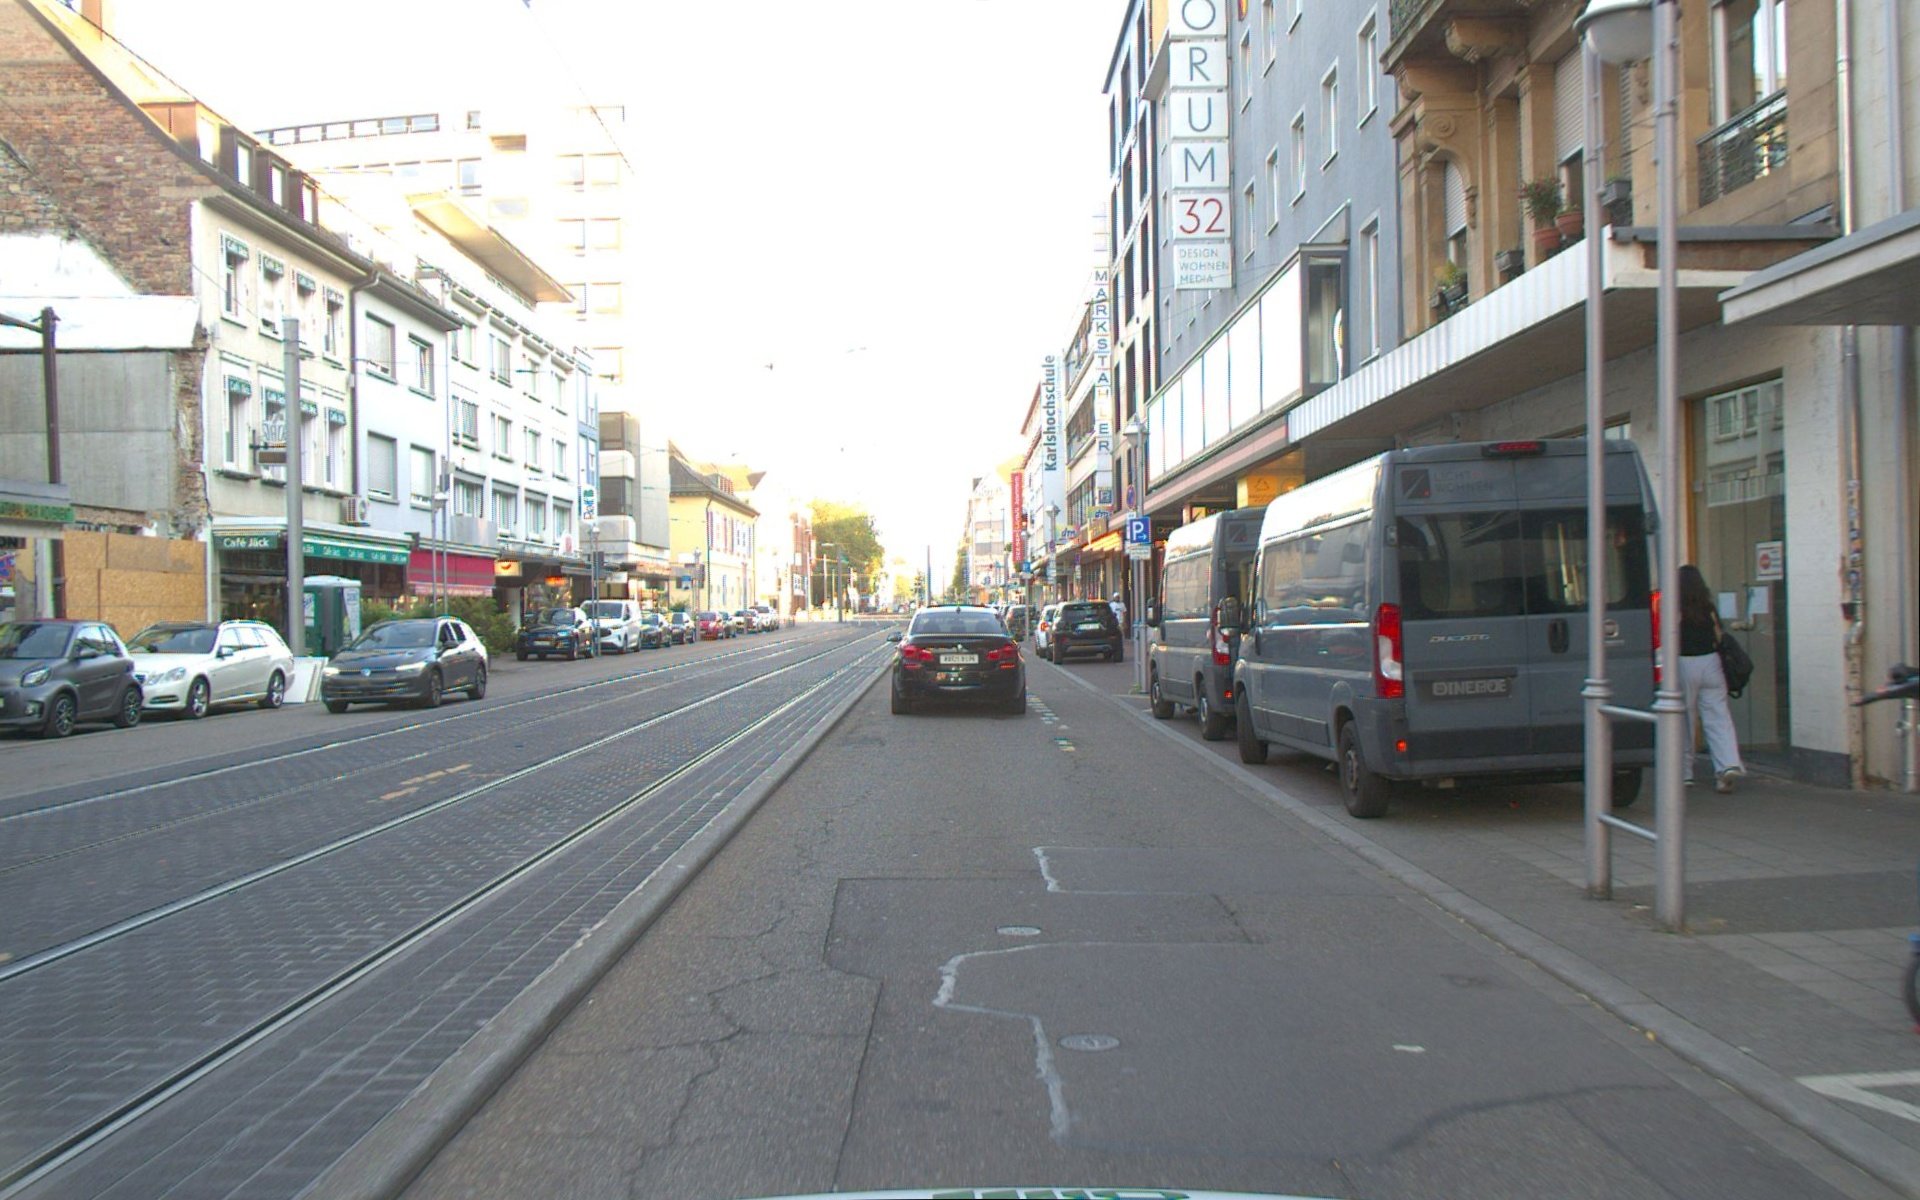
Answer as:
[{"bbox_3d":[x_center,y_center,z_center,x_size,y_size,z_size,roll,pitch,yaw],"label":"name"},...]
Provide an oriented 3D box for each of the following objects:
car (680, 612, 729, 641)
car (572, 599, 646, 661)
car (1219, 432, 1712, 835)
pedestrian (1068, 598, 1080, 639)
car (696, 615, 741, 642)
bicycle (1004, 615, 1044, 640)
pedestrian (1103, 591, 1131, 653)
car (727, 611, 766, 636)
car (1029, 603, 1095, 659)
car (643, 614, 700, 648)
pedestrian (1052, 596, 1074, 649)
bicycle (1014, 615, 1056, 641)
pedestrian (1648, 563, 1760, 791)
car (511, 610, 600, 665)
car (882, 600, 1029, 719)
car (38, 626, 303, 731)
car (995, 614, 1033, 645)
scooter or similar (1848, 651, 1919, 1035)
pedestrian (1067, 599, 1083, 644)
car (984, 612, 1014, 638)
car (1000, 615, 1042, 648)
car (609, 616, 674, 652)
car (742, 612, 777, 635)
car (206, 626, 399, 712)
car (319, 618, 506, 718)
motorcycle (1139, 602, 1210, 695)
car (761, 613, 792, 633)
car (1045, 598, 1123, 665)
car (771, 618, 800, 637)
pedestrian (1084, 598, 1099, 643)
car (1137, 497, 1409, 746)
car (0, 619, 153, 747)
[{"bbox_3d":[-13.238,1.359,85.908,1.889,1.460,4.245,0,0,0],"label":"car"},{"bbox_3d":[-13.082,1.088,61.848,1.954,2.194,4.907,-1,0,-4],"label":"car"},{"bbox_3d":[3.715,0.224,13.618,2.050,2.498,6.031,-2,0,-1],"label":"car"},{"bbox_3d":[4.864,0.769,70.423,0.465,1.729,0.752,-2,-1,3],"label":"pedestrian"},{"bbox_3d":[-13.236,1.550,90.892,1.889,1.460,4.245,0,0,0],"label":"car"},{"bbox_3d":[2.973,1.279,77.254,1.823,1.139,0.468,-1,-2,0],"label":"bicycle"},{"bbox_3d":[4.644,0.654,48.881,0.674,1.771,0.821,-3,-1,1],"label":"pedestrian"},{"bbox_3d":[-13.446,1.483,104.422,1.889,1.460,4.245,-1,0,0],"label":"car"},{"bbox_3d":[2.902,0.862,47.607,1.528,1.467,3.708,-3,0,-1],"label":"car"},{"bbox_3d":[-13.224,1.405,76.053,1.889,1.460,4.245,0,0,0],"label":"car"},{"bbox_3d":[3.299,0.726,53.145,0.546,1.676,0.759,-2,-1,-5],"label":"pedestrian"},{"bbox_3d":[3.236,1.213,71.463,1.823,1.099,0.468,-1,-2,0],"label":"bicycle"},{"bbox_3d":[5.640,0.570,12.555,0.539,1.673,0.533,-2,0,0],"label":"pedestrian"},{"bbox_3d":[-13.124,1.198,53.872,1.822,1.707,4.464,0,0,0],"label":"car"},{"bbox_3d":[-0.018,0.806,23.920,1.913,1.525,4.465,-1,-1,1],"label":"car"},{"bbox_3d":[-12.689,1.202,26.982,1.952,1.478,4.822,-1,0,1],"label":"car"},{"bbox_3d":[2.827,1.591,87.447,1.864,1.576,3.779,-1,-1,-1],"label":"car"},{"bbox_3d":[3.617,0.827,6.011,0.490,1.241,1.260,-2,-1,36],"label":"scooter or similar"},{"bbox_3d":[4.746,0.868,68.114,0.542,1.823,0.760,-2,-1,-1],"label":"pedestrian"},{"bbox_3d":[2.394,1.555,102.214,1.738,1.576,3.502,-1,-1,-1],"label":"car"},{"bbox_3d":[2.936,1.525,80.604,1.864,1.576,3.999,-1,-1,-1],"label":"car"},{"bbox_3d":[-13.302,1.398,69.256,1.889,1.460,4.245,0,0,0],"label":"car"},{"bbox_3d":[-13.415,1.571,110.794,1.889,1.460,4.245,0,0,0],"label":"car"},{"bbox_3d":[-12.679,1.284,32.213,1.952,1.478,4.330,-1,0,1],"label":"car"},{"bbox_3d":[-9.235,1.101,28.302,1.657,1.478,4.465,-2,0,0],"label":"car"},{"bbox_3d":[3.593,0.796,27.916,0.827,1.443,2.164,-3,-1,0],"label":"motorcycle"},{"bbox_3d":[-13.836,1.690,124.644,1.889,1.460,4.245,0,0,0],"label":"car"},{"bbox_3d":[3.142,0.774,42.466,1.621,1.564,3.885,-2,0,-1],"label":"car"},{"bbox_3d":[-14.064,2.227,133.747,1.889,1.460,4.245,0,0,0],"label":"car"},{"bbox_3d":[5.416,0.836,68.065,0.497,1.824,0.760,-2,-1,0],"label":"pedestrian"},{"bbox_3d":[3.567,0.240,20.002,1.992,2.498,5.407,-3,0,-2],"label":"car"},{"bbox_3d":[-12.437,1.093,22.646,1.447,1.605,2.793,-2,0,-2],"label":"car"}]
